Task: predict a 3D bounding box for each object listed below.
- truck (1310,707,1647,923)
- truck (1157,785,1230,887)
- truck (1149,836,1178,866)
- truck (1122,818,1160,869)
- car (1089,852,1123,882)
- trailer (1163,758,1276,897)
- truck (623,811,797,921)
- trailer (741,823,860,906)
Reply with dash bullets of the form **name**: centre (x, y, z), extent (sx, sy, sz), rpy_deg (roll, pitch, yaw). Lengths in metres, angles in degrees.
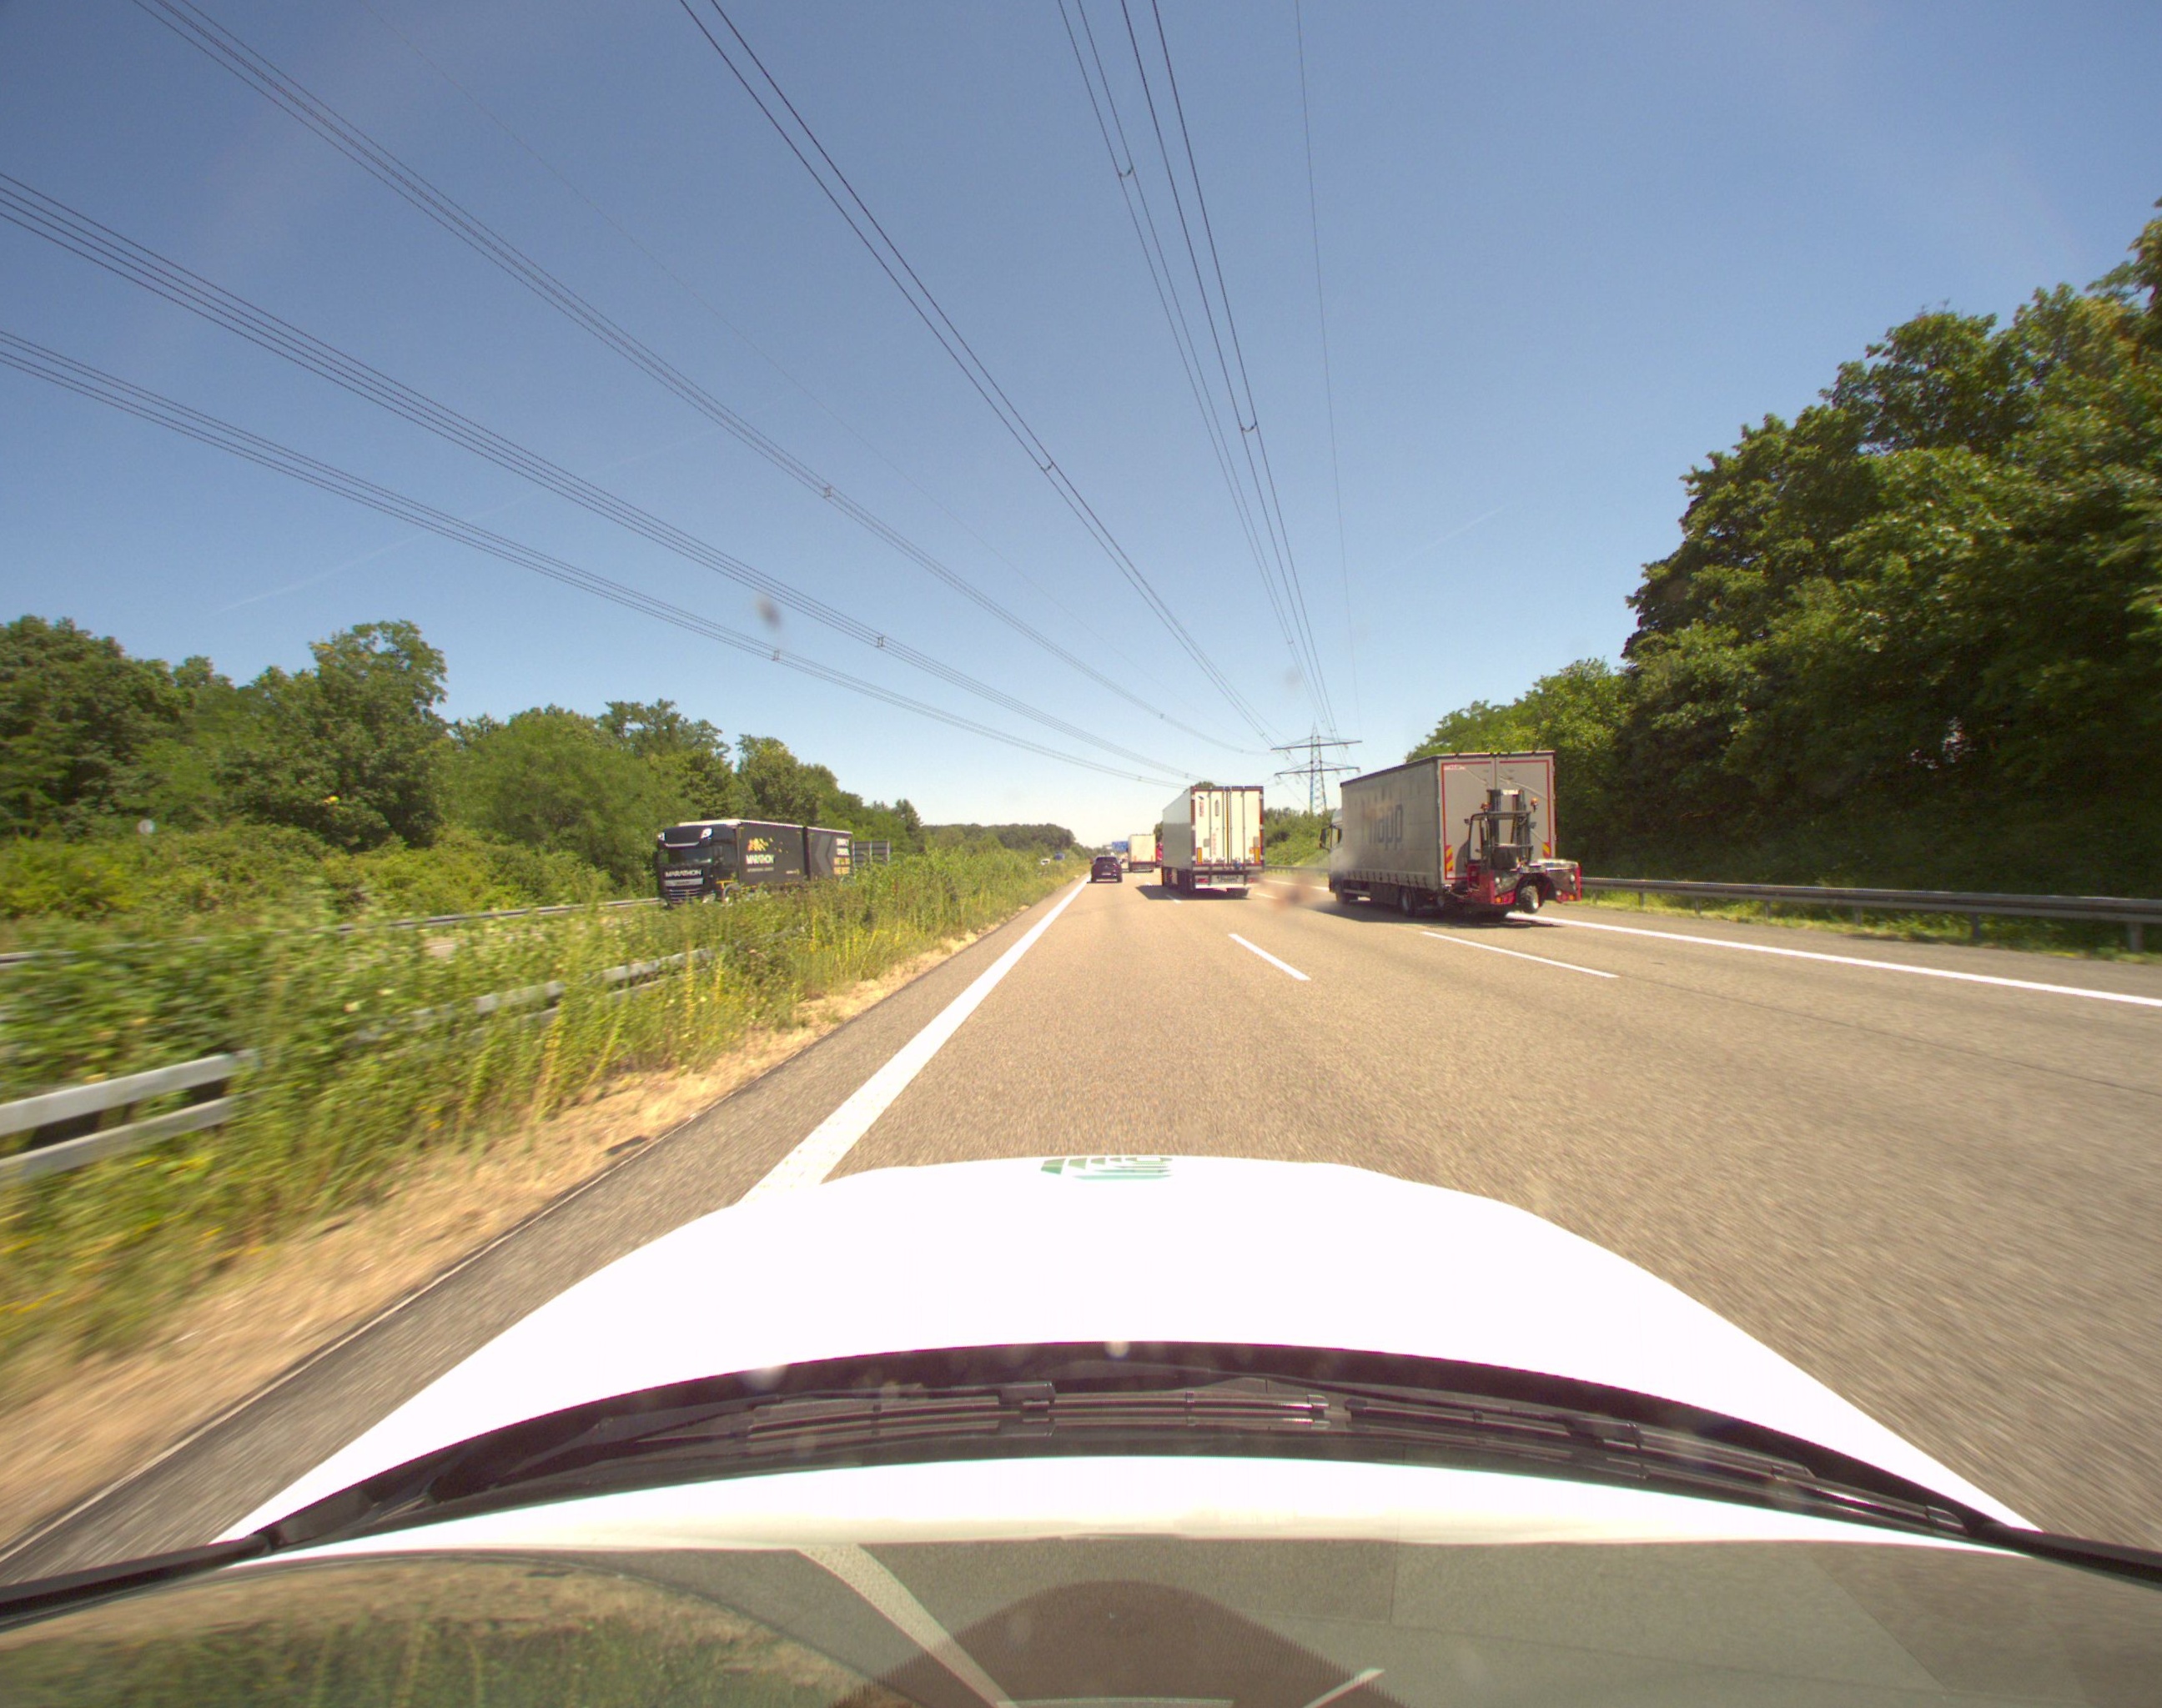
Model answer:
- **truck**: centre (9.429, -0.731, 21.799), extent (3.558, 4.245, 11.654), rpy_deg (0, 0, 1)
- **truck**: centre (5.684, -0.845, 42.294), extent (3.075, 4.885, 6.600), rpy_deg (0, 0, 2)
- **truck**: centre (13.087, -0.504, 129.883), extent (3.499, 4.492, 13.253), rpy_deg (-1, 0, 1)
- **truck**: centre (6.471, -1.066, 89.104), extent (3.499, 5.166, 10.260), rpy_deg (-1, 0, 1)
- **car**: centre (1.584, 0.803, 52.421), extent (1.987, 1.772, 3.999), rpy_deg (-2, 0, 0)
- **trailer**: centre (5.452, -0.892, 34.588), extent (3.075, 4.885, 12.262), rpy_deg (0, 0, 2)
- **truck**: centre (-16.080, 0.495, 36.480), extent (2.748, 4.121, 10.218), rpy_deg (-3, 0, 1)
- **trailer**: centre (-15.758, 0.557, 46.766), extent (2.756, 4.096, 10.302), rpy_deg (-3, -1, 2)
